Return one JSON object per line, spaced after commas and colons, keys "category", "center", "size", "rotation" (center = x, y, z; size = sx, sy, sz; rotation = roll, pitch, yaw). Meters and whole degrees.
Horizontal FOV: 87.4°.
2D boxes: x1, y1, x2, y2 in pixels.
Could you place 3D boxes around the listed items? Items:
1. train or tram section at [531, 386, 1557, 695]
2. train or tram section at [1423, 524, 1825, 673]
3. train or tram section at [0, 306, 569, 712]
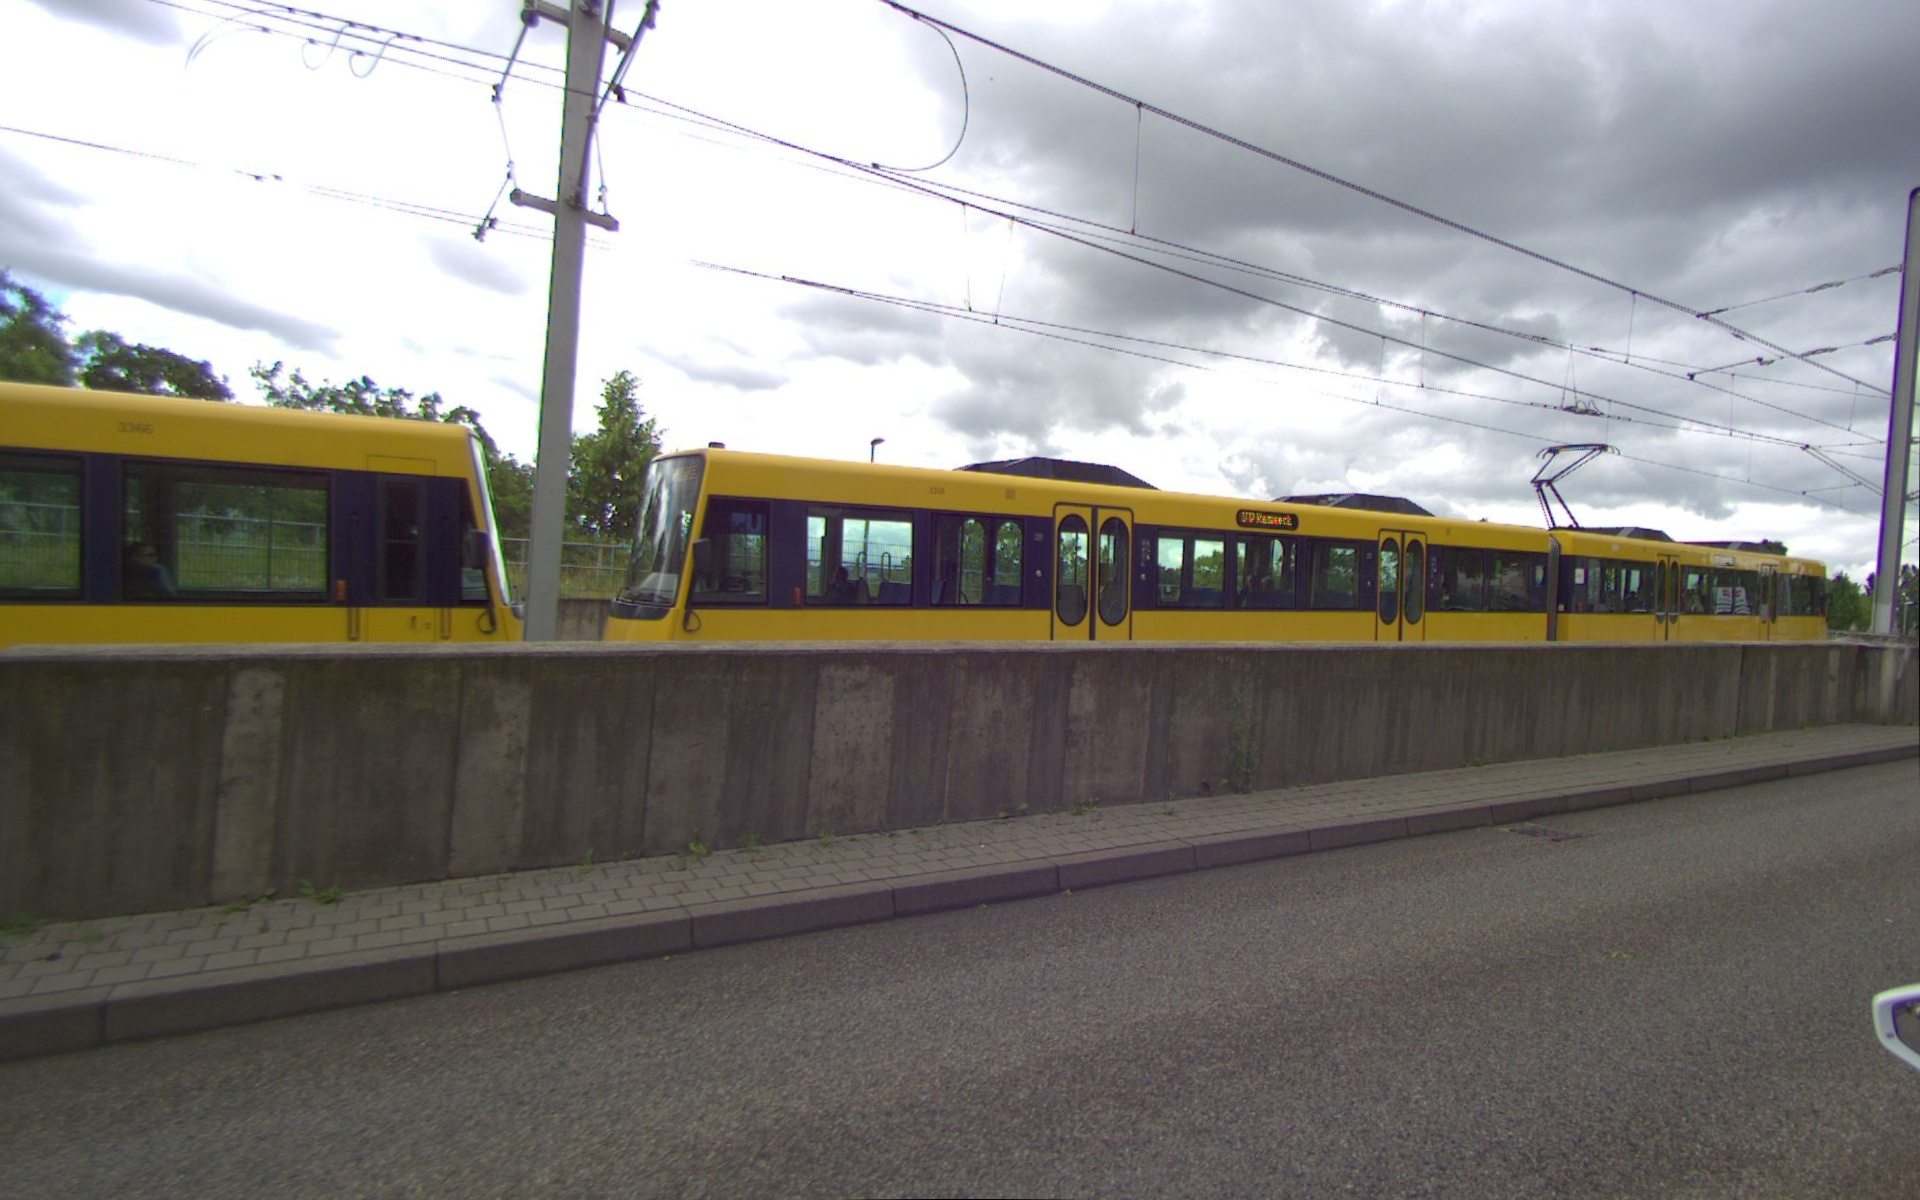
{"category": "train or tram section", "center": [3.479, -0.330, 16.436], "size": [19.104, 3.065, 2.784], "rotation": [2, -1, -34]}
{"category": "train or tram section", "center": [18.866, 0.220, 27.207], "size": [18.700, 3.062, 2.777], "rotation": [2, -1, -36]}
{"category": "train or tram section", "center": [-12.640, -0.858, 6.162], "size": [18.885, 3.117, 2.789], "rotation": [2, -1, -31]}
